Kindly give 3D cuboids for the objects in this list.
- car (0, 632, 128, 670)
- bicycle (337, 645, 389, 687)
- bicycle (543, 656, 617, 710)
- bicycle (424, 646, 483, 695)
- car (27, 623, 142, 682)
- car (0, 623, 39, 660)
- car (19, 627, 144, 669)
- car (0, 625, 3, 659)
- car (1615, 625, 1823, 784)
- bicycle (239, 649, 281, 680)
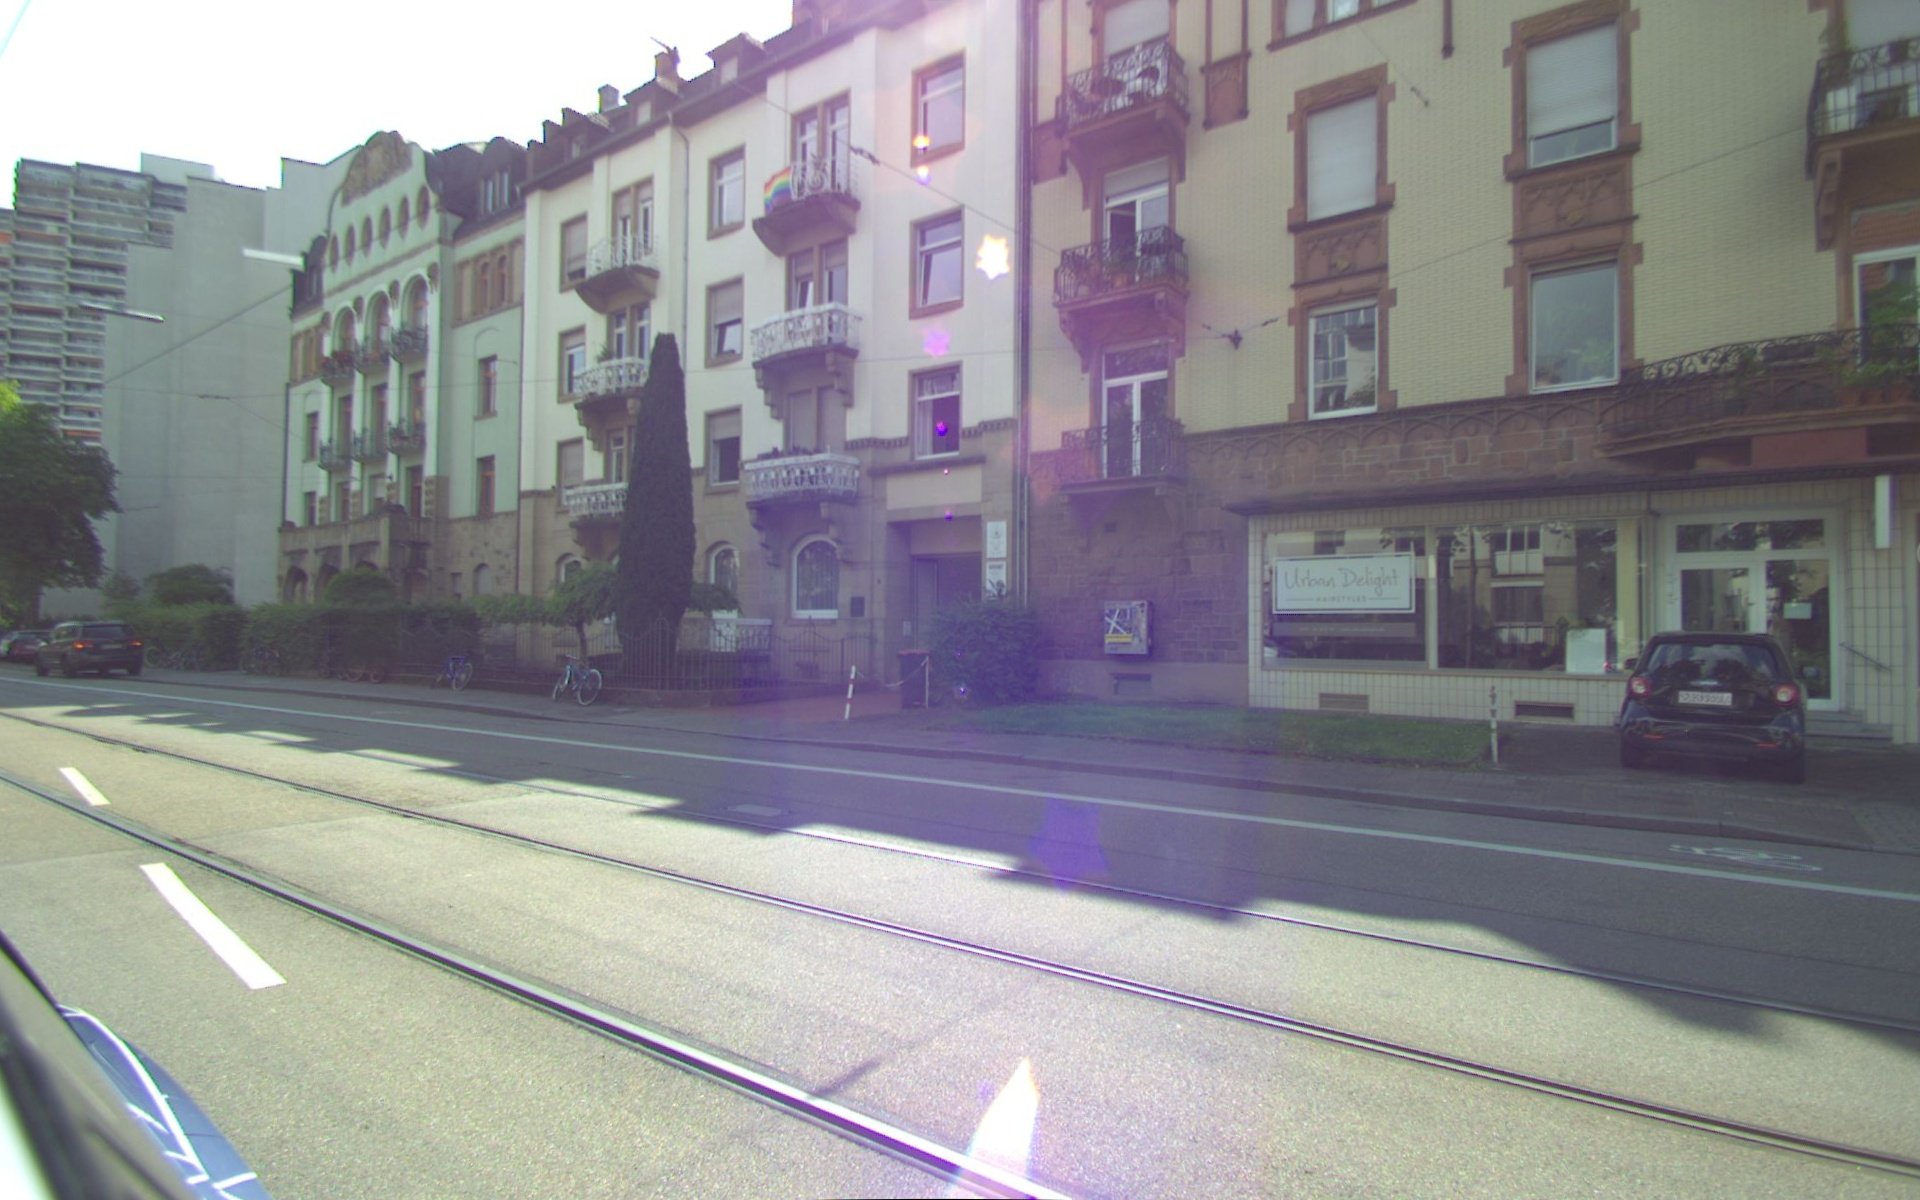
[{"bbox_3d":[-38.336,2.159,43.362,1.633,1.548,3.842,-1,-3,38],"label":"car"},{"bbox_3d":[-15.345,1.681,26.011,1.872,0.993,0.579,0,-2,42],"label":"bicycle"},{"bbox_3d":[-7.559,1.624,20.081,2.068,0.913,0.517,1,-1,45],"label":"bicycle"},{"bbox_3d":[-11.709,1.614,23.372,1.872,1.037,0.532,0,-2,42],"label":"bicycle"},{"bbox_3d":[-27.393,1.607,31.634,4.323,1.724,1.775,-1,-3,36],"label":"car"},{"bbox_3d":[-51.246,2.157,53.205,1.829,1.940,3.947,-1,-3,39],"label":"car"},{"bbox_3d":[-36.032,1.941,41.567,1.608,1.652,3.587,-1,-2,37],"label":"car"},{"bbox_3d":[-54.298,2.265,54.607,1.733,1.857,3.619,-1,-3,37],"label":"car"},{"bbox_3d":[8.893,1.083,11.890,1.704,1.497,3.411,-1,-1,38],"label":"car"},{"bbox_3d":[-20.472,1.874,29.580,1.872,0.803,0.579,0,0,42],"label":"bicycle"}]
